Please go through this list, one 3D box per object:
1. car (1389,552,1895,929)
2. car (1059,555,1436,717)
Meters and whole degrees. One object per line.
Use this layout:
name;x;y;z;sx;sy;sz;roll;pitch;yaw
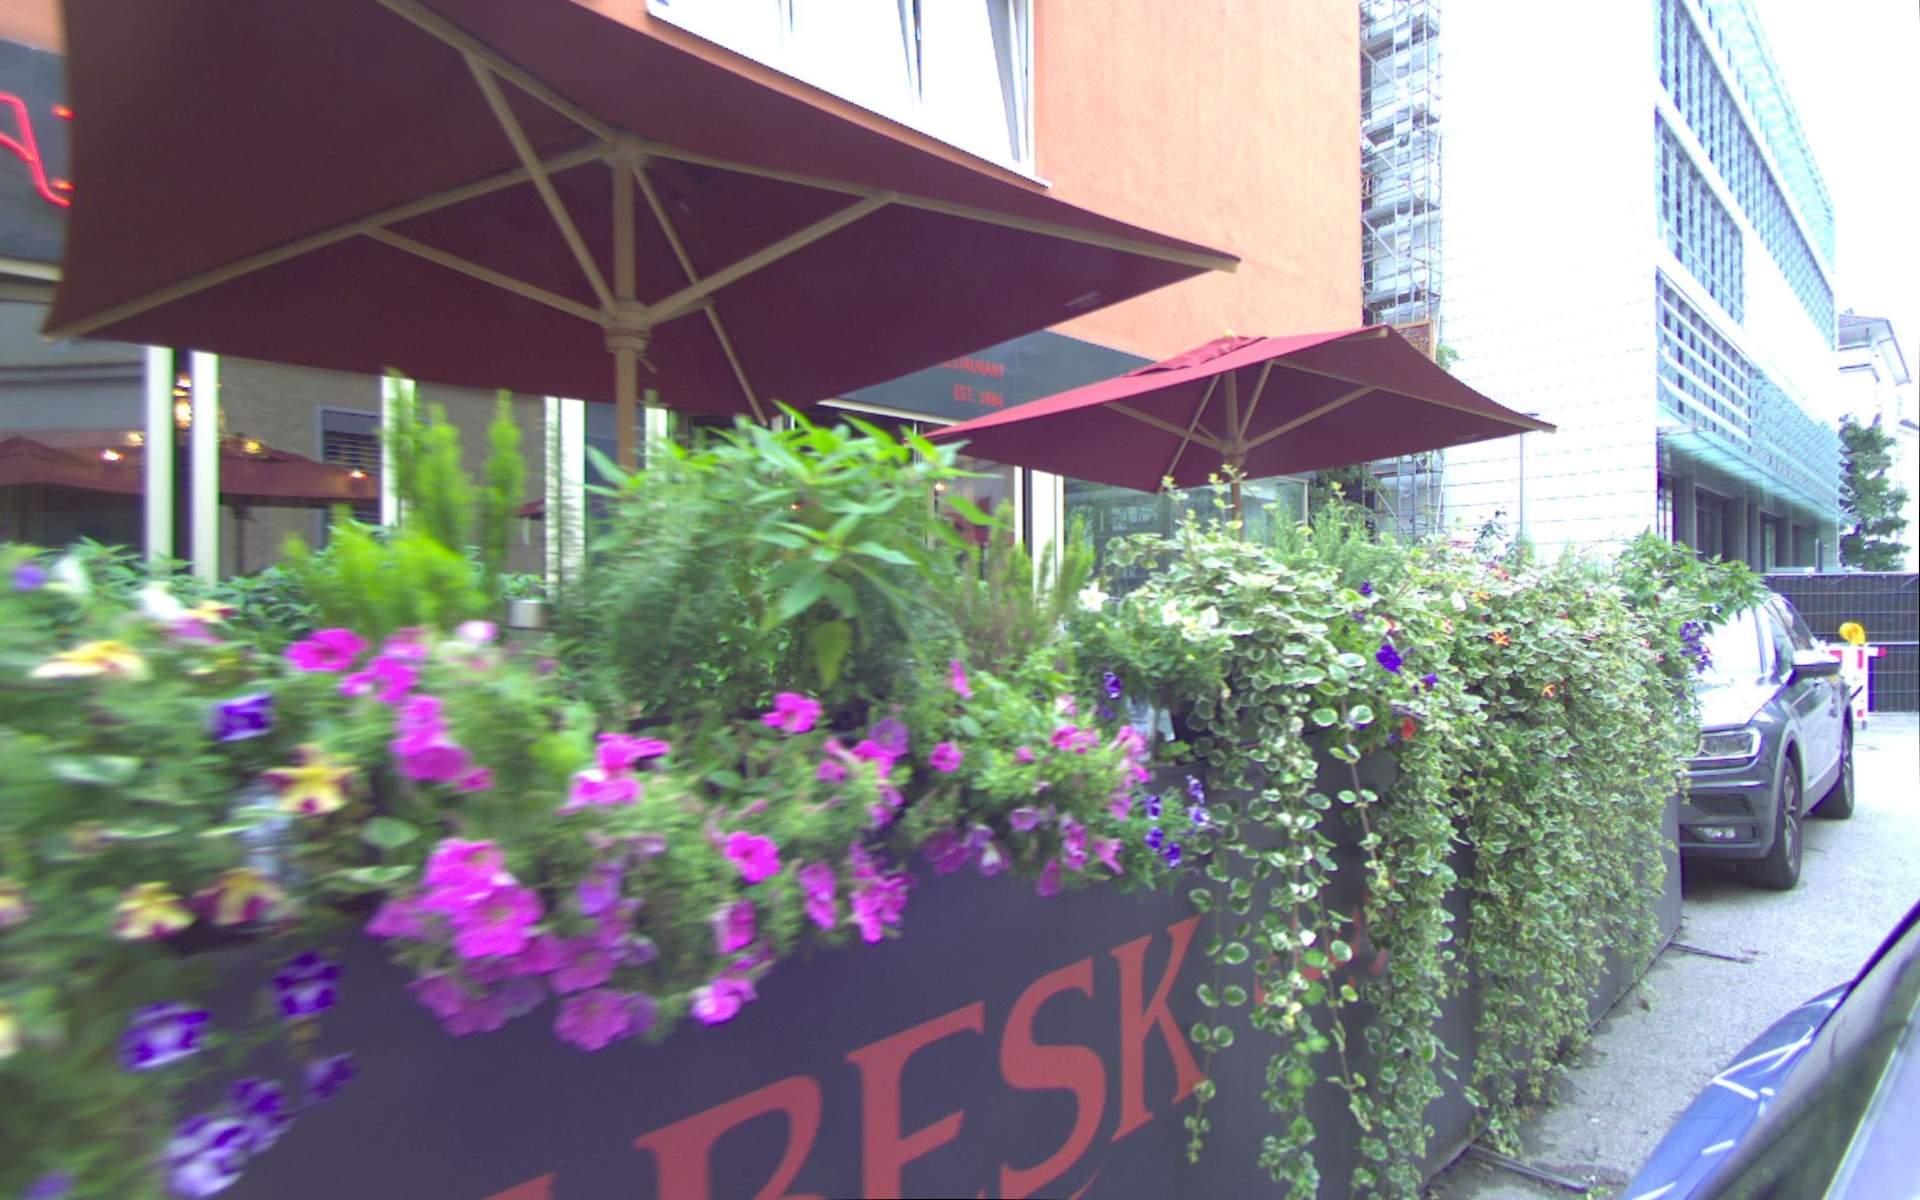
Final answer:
car;4.768;0.658;6.797;4.314;1.732;1.826;0;-1;-42
car;3.569;0.369;13.209;1.810;1.742;4.466;0;0;-43
